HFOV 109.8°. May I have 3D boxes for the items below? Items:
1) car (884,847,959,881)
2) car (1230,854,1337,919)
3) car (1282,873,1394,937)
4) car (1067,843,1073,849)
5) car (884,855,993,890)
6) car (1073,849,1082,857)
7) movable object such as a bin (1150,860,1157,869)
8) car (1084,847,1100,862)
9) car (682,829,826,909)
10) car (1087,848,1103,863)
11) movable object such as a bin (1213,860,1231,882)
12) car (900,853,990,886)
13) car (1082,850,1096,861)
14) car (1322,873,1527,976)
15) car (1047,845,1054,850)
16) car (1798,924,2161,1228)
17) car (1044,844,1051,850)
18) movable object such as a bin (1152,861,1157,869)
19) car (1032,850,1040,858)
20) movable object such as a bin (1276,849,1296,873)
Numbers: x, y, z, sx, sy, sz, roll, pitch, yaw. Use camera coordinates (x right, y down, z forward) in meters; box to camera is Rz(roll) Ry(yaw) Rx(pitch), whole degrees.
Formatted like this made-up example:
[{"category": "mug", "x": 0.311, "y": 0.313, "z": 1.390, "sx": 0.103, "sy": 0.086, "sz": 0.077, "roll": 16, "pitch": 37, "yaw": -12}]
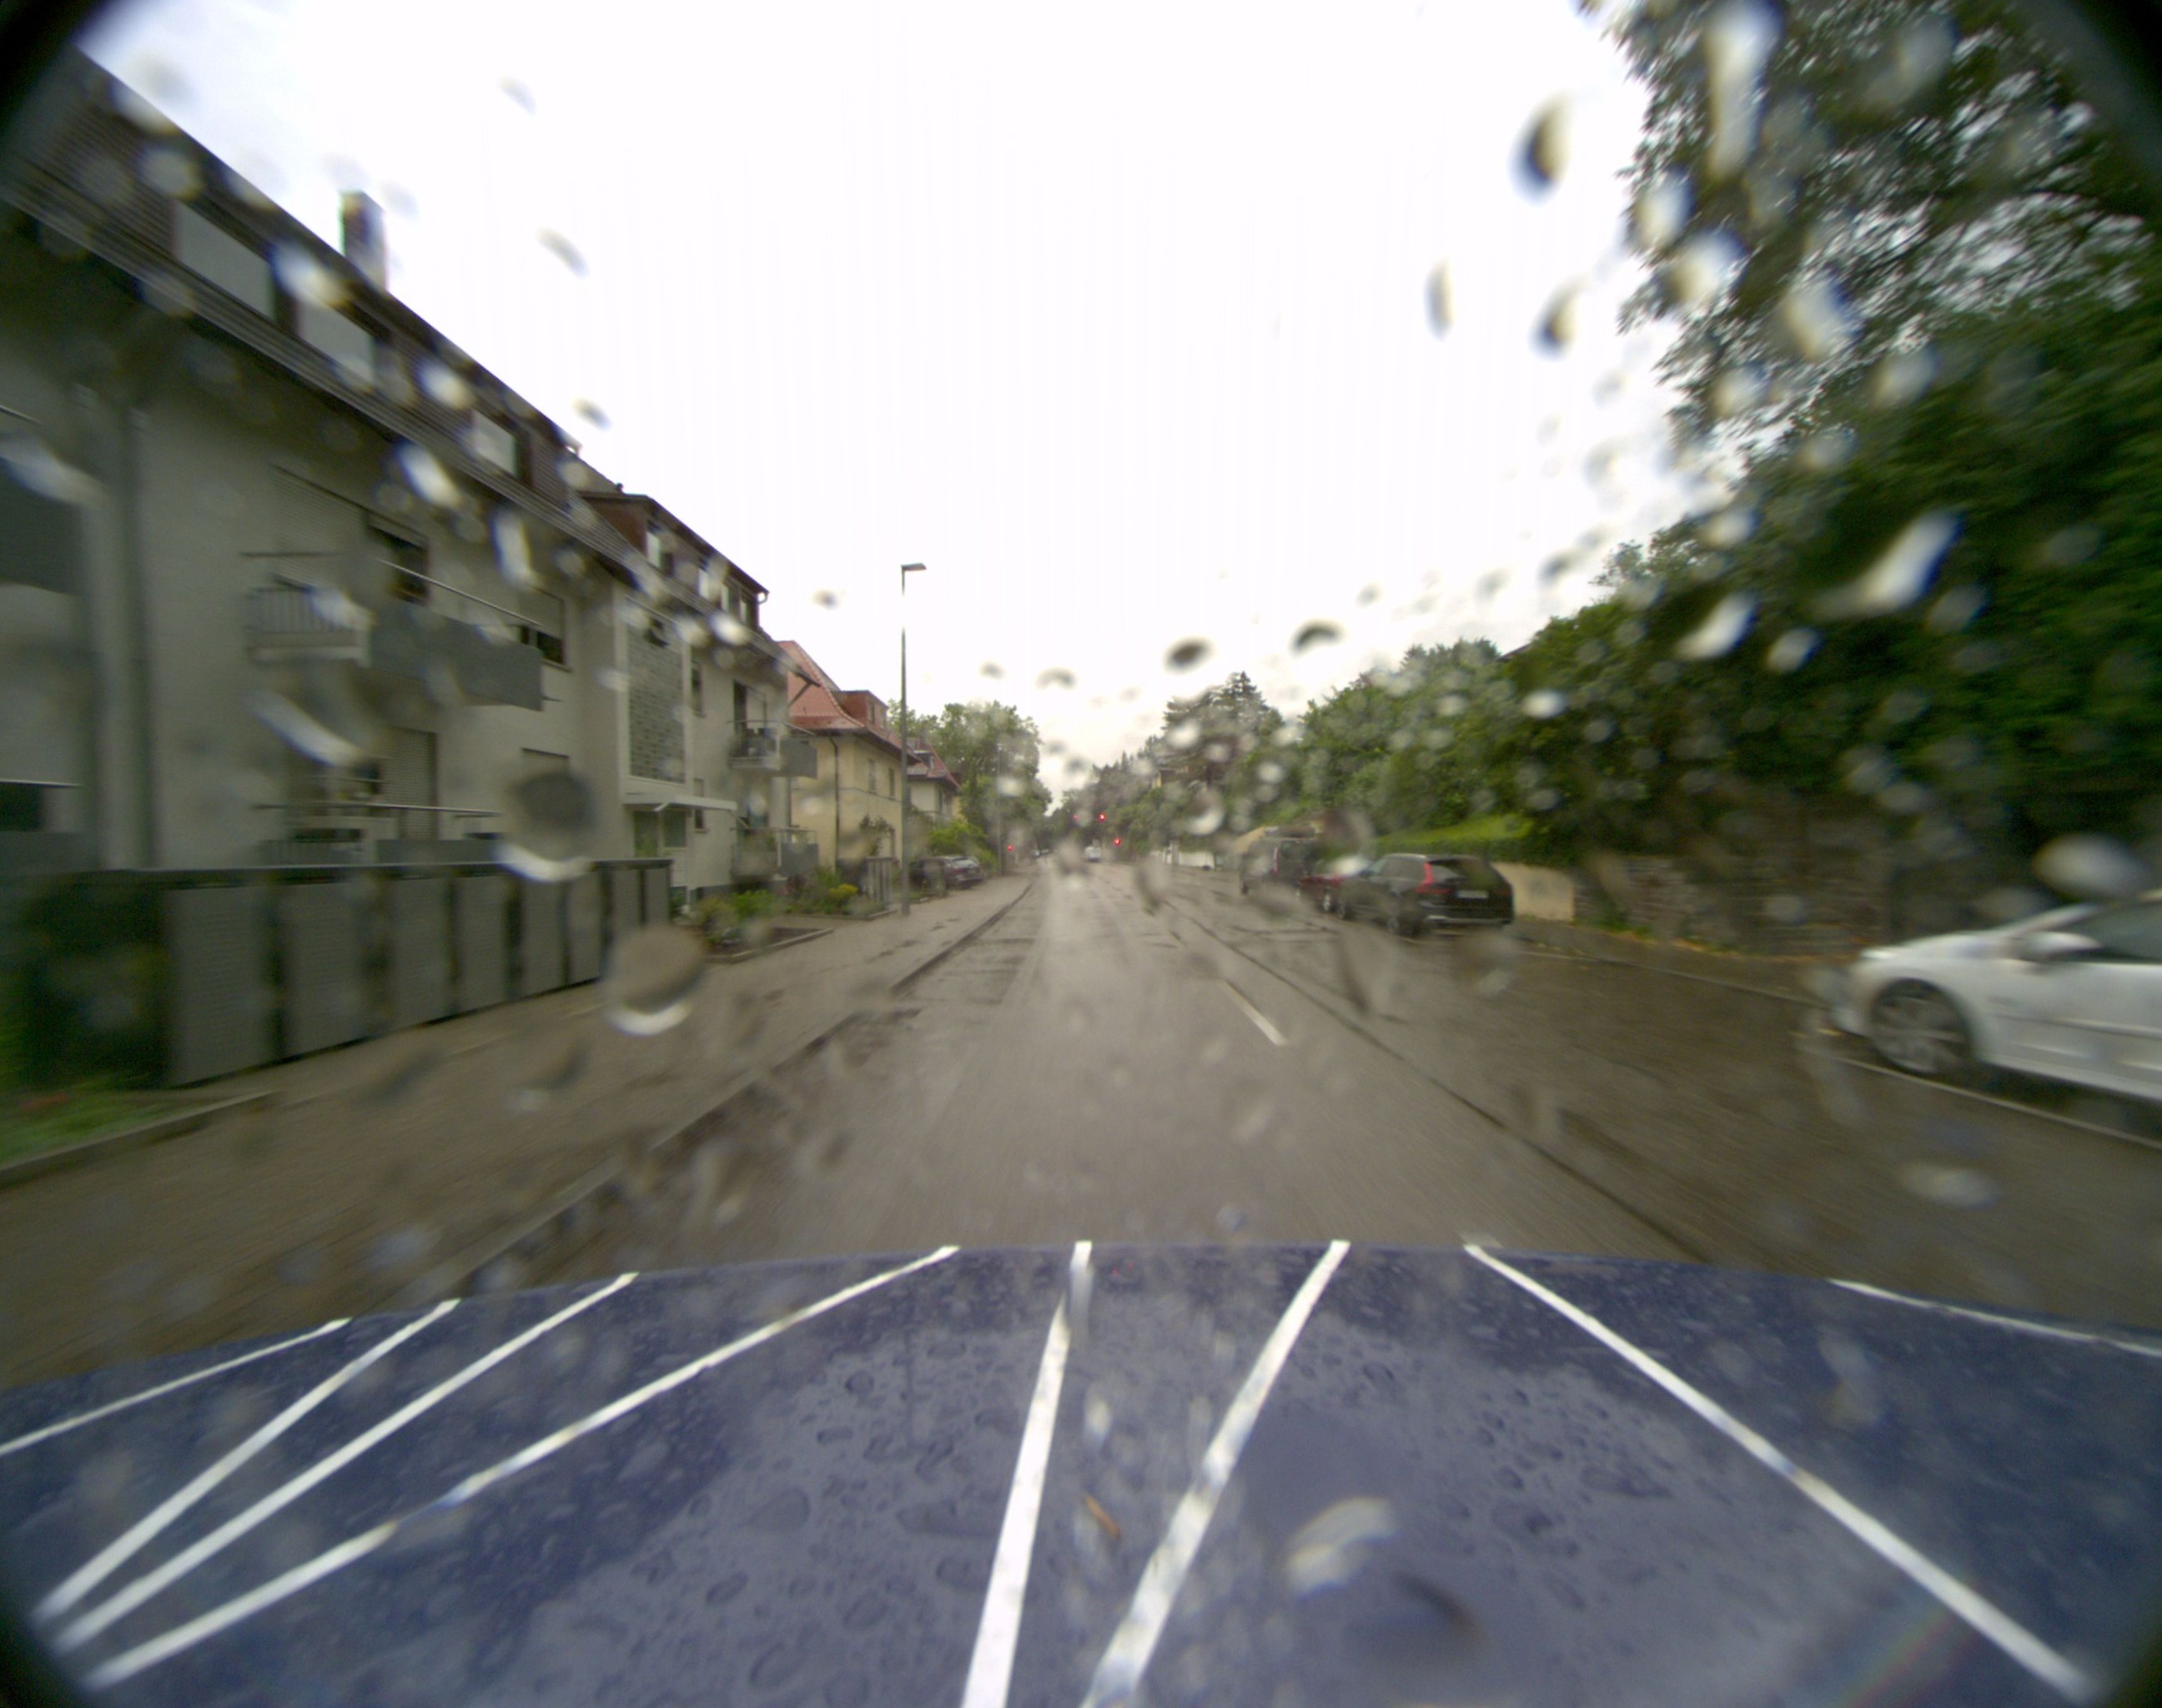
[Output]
[{"category": "car", "x": -9.664, "y": 0.589, "z": 46.290, "sx": 3.997, "sy": 1.570, "sz": 1.821, "roll": -6, "pitch": 1, "yaw": 1}, {"category": "car", "x": 6.592, "y": 0.974, "z": 25.424, "sx": 2.164, "sy": 1.908, "sz": 5.323, "roll": 1, "pitch": 0, "yaw": 0}, {"category": "car", "x": 6.689, "y": 1.275, "z": 20.220, "sx": 1.568, "sy": 1.357, "sz": 3.906, "roll": 2, "pitch": 0, "yaw": -1}, {"category": "car", "x": -3.544, "y": -2.554, "z": 244.875, "sx": 1.925, "sy": 1.889, "sz": 4.000, "roll": -1, "pitch": 0, "yaw": 2}, {"category": "car", "x": -6.062, "y": 0.754, "z": 32.139, "sx": 4.370, "sy": 1.356, "sz": 1.923, "roll": 0, "pitch": 1, "yaw": 33}, {"category": "car", "x": -0.865, "y": -0.262, "z": 176.407, "sx": 1.925, "sy": 1.747, "sz": 3.998, "roll": -1, "pitch": 0, "yaw": -3}, {"category": "movable object such as a bin", "x": 8.108, "y": 1.151, "z": 84.563, "sx": 0.683, "sy": 1.034, "sz": 0.657, "roll": -1, "pitch": 1, "yaw": -5}, {"category": "car", "x": 1.908, "y": 0.043, "z": 130.942, "sx": 2.163, "sy": 2.454, "sz": 4.914, "roll": 3, "pitch": 0, "yaw": -4}, {"category": "car", "x": -12.032, "y": 0.583, "z": 28.158, "sx": 4.471, "sy": 2.742, "sz": 2.007, "roll": -1, "pitch": -2, "yaw": -1}, {"category": "car", "x": 2.256, "y": 0.213, "z": 125.580, "sx": 2.085, "sy": 2.464, "sz": 4.851, "roll": 3, "pitch": 0, "yaw": -4}, {"category": "movable object such as a bin", "x": 9.685, "y": 1.145, "z": 52.195, "sx": 0.935, "sy": 1.437, "sz": 0.861, "roll": -3, "pitch": 2, "yaw": -3}, {"category": "car", "x": -6.336, "y": 0.703, "z": 35.273, "sx": 3.989, "sy": 1.448, "sz": 1.776, "roll": 0, "pitch": 0, "yaw": 33}, {"category": "car", "x": 1.407, "y": 0.268, "z": 141.537, "sx": 2.163, "sy": 1.944, "sz": 4.914, "roll": 3, "pitch": 0, "yaw": -4}, {"category": "car", "x": 6.437, "y": 1.230, "z": 14.954, "sx": 1.913, "sy": 1.472, "sz": 4.755, "roll": 3, "pitch": 1, "yaw": 2}, {"category": "car", "x": -10.414, "y": -2.291, "z": 262.036, "sx": 1.924, "sy": 1.889, "sz": 4.001, "roll": -1, "pitch": 0, "yaw": 4}, {"category": "car", "x": 6.256, "y": 1.211, "z": 3.631, "sx": 1.721, "sy": 1.357, "sz": 4.083, "roll": 2, "pitch": -1, "yaw": -1}, {"category": "car", "x": -10.936, "y": -2.348, "z": 251.448, "sx": 1.924, "sy": 1.889, "sz": 4.000, "roll": -1, "pitch": 0, "yaw": 3}, {"category": "movable object such as a bin", "x": 8.115, "y": 1.216, "z": 83.783, "sx": 0.544, "sy": 0.935, "sz": 0.416, "roll": -1, "pitch": 1, "yaw": -5}, {"category": "car", "x": -10.819, "y": -0.092, "z": 182.238, "sx": 1.925, "sy": 1.889, "sz": 3.998, "roll": -1, "pitch": 0, "yaw": -3}, {"category": "movable object such as a bin", "x": 11.569, "y": 0.389, "z": 42.900, "sx": 0.822, "sy": 1.374, "sz": 1.135, "roll": -1, "pitch": 0, "yaw": 3}]
